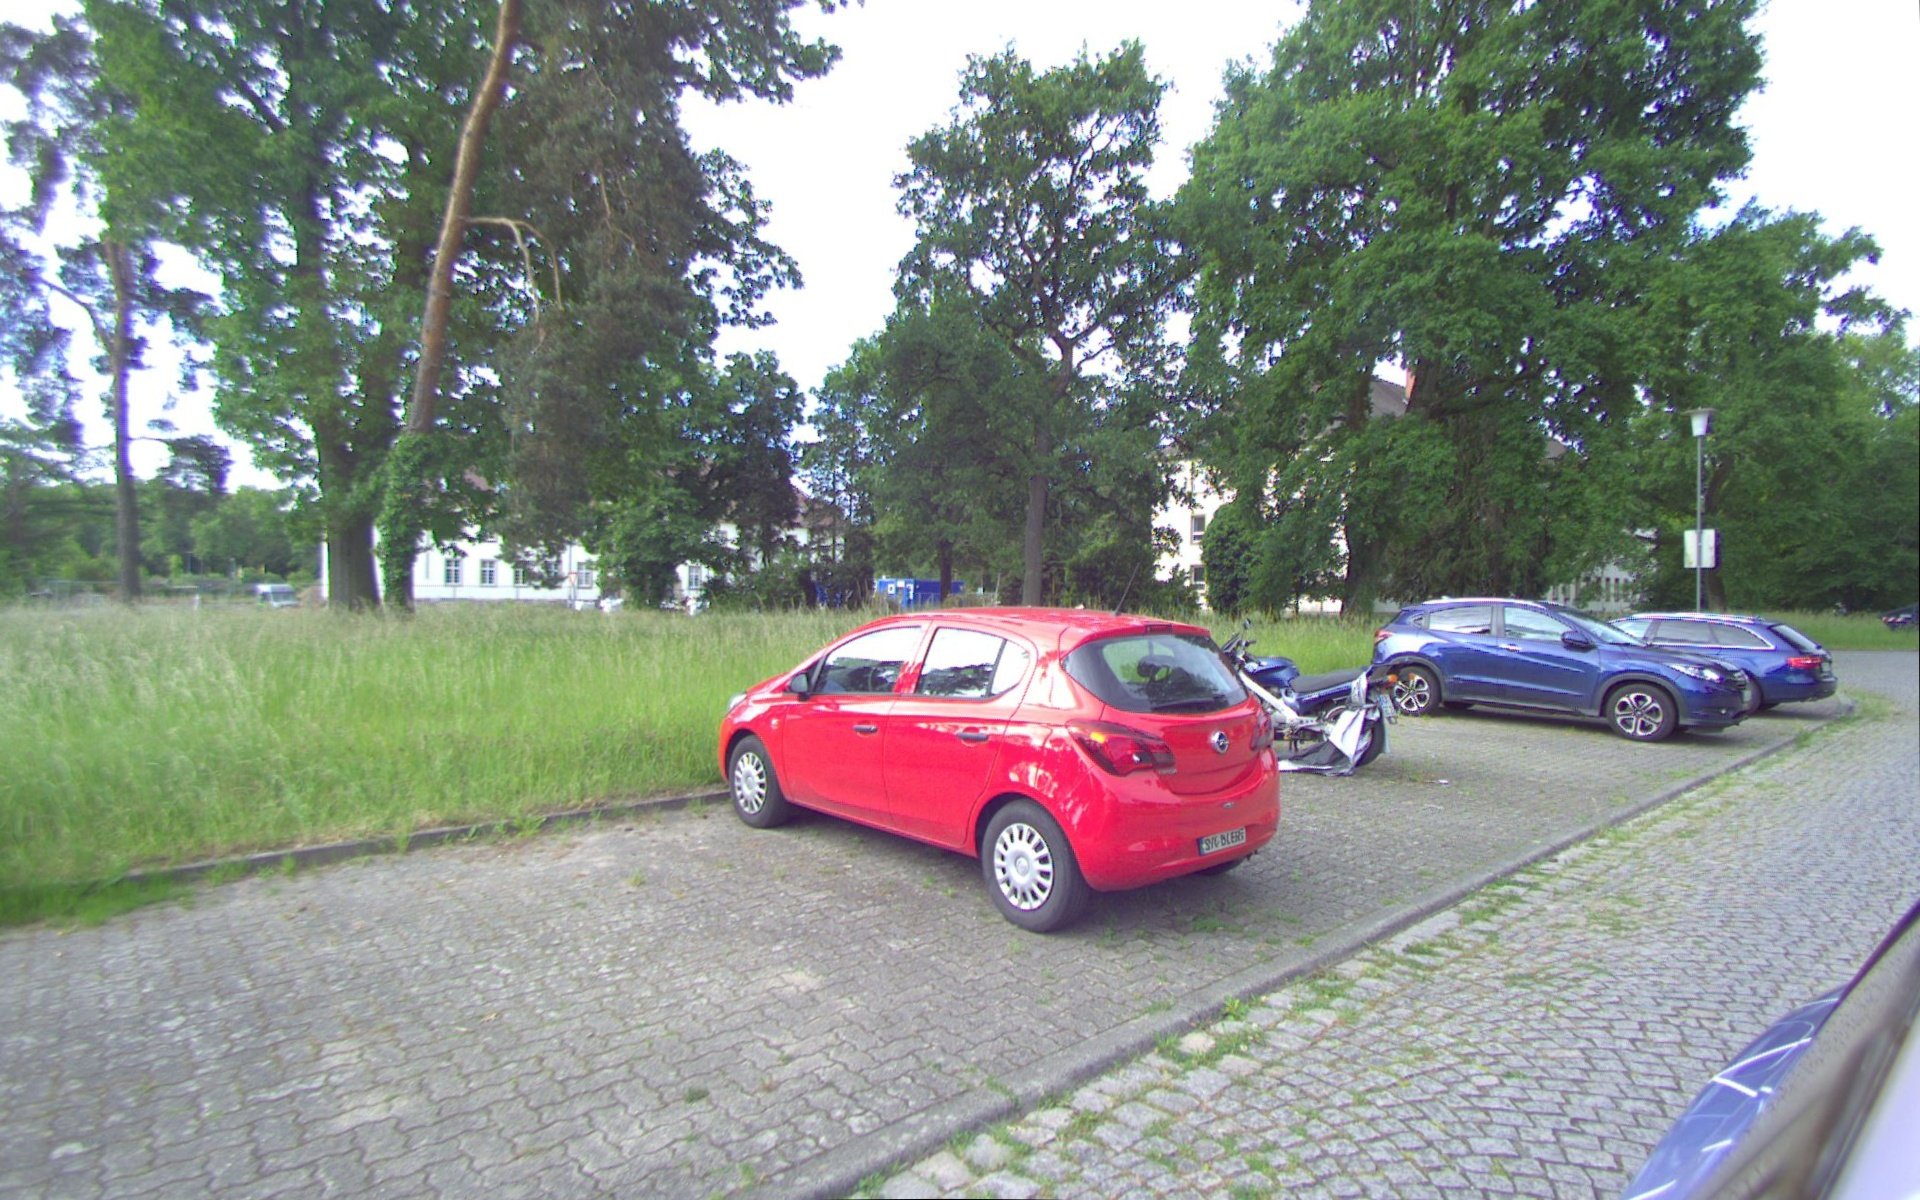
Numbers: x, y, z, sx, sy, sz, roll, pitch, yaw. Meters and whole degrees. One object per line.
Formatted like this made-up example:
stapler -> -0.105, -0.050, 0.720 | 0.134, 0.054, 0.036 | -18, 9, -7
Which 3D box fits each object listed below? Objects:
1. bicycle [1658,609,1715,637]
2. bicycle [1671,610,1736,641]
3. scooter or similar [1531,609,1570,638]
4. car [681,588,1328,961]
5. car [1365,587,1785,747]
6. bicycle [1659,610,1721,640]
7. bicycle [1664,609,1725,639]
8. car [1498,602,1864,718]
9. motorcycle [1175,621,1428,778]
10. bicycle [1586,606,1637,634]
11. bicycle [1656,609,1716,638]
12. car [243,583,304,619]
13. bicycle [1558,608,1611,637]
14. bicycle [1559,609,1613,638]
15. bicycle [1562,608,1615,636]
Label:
bicycle -> 31.387, 1.004, 43.737 | 1.925, 1.185, 0.531 | -2, -1, 33
bicycle -> 28.796, 0.987, 39.208 | 1.916, 1.185, 0.485 | -1, -1, 21
scooter or similar -> 24.664, 0.982, 42.290 | 0.406, 1.185, 1.306 | 0, -1, -42
car -> 0.007, 0.721, 6.296 | 1.755, 1.515, 3.928 | 1, 1, -43
car -> 7.663, 0.698, 12.923 | 1.855, 1.643, 4.250 | 1, 1, -43
bicycle -> 29.050, 0.996, 40.289 | 1.918, 1.185, 0.484 | -1, -1, 24
bicycle -> 29.958, 0.996, 41.330 | 1.920, 1.185, 0.483 | -2, -1, 27
car -> 11.182, 0.819, 15.974 | 1.892, 1.457, 4.367 | 1, 1, -39
motorcycle -> 3.113, 0.849, 9.453 | 0.558, 1.217, 2.232 | 1, 1, -43
bicycle -> 29.084, 0.890, 45.220 | 1.851, 1.185, 0.481 | 2, 1, 39
bicycle -> 30.285, 1.002, 42.233 | 1.920, 1.185, 0.483 | -2, -1, 27
car -> -53.649, 0.099, 79.042 | 5.646, 2.675, 2.248 | -1, -1, 37
bicycle -> 26.229, 0.937, 42.513 | 1.838, 1.185, 0.484 | 0, -1, 23
bicycle -> 25.948, 0.960, 41.986 | 1.838, 1.185, 0.484 | 0, -1, 23
bicycle -> 27.125, 0.938, 43.695 | 1.836, 1.185, 0.485 | 0, -1, 20
